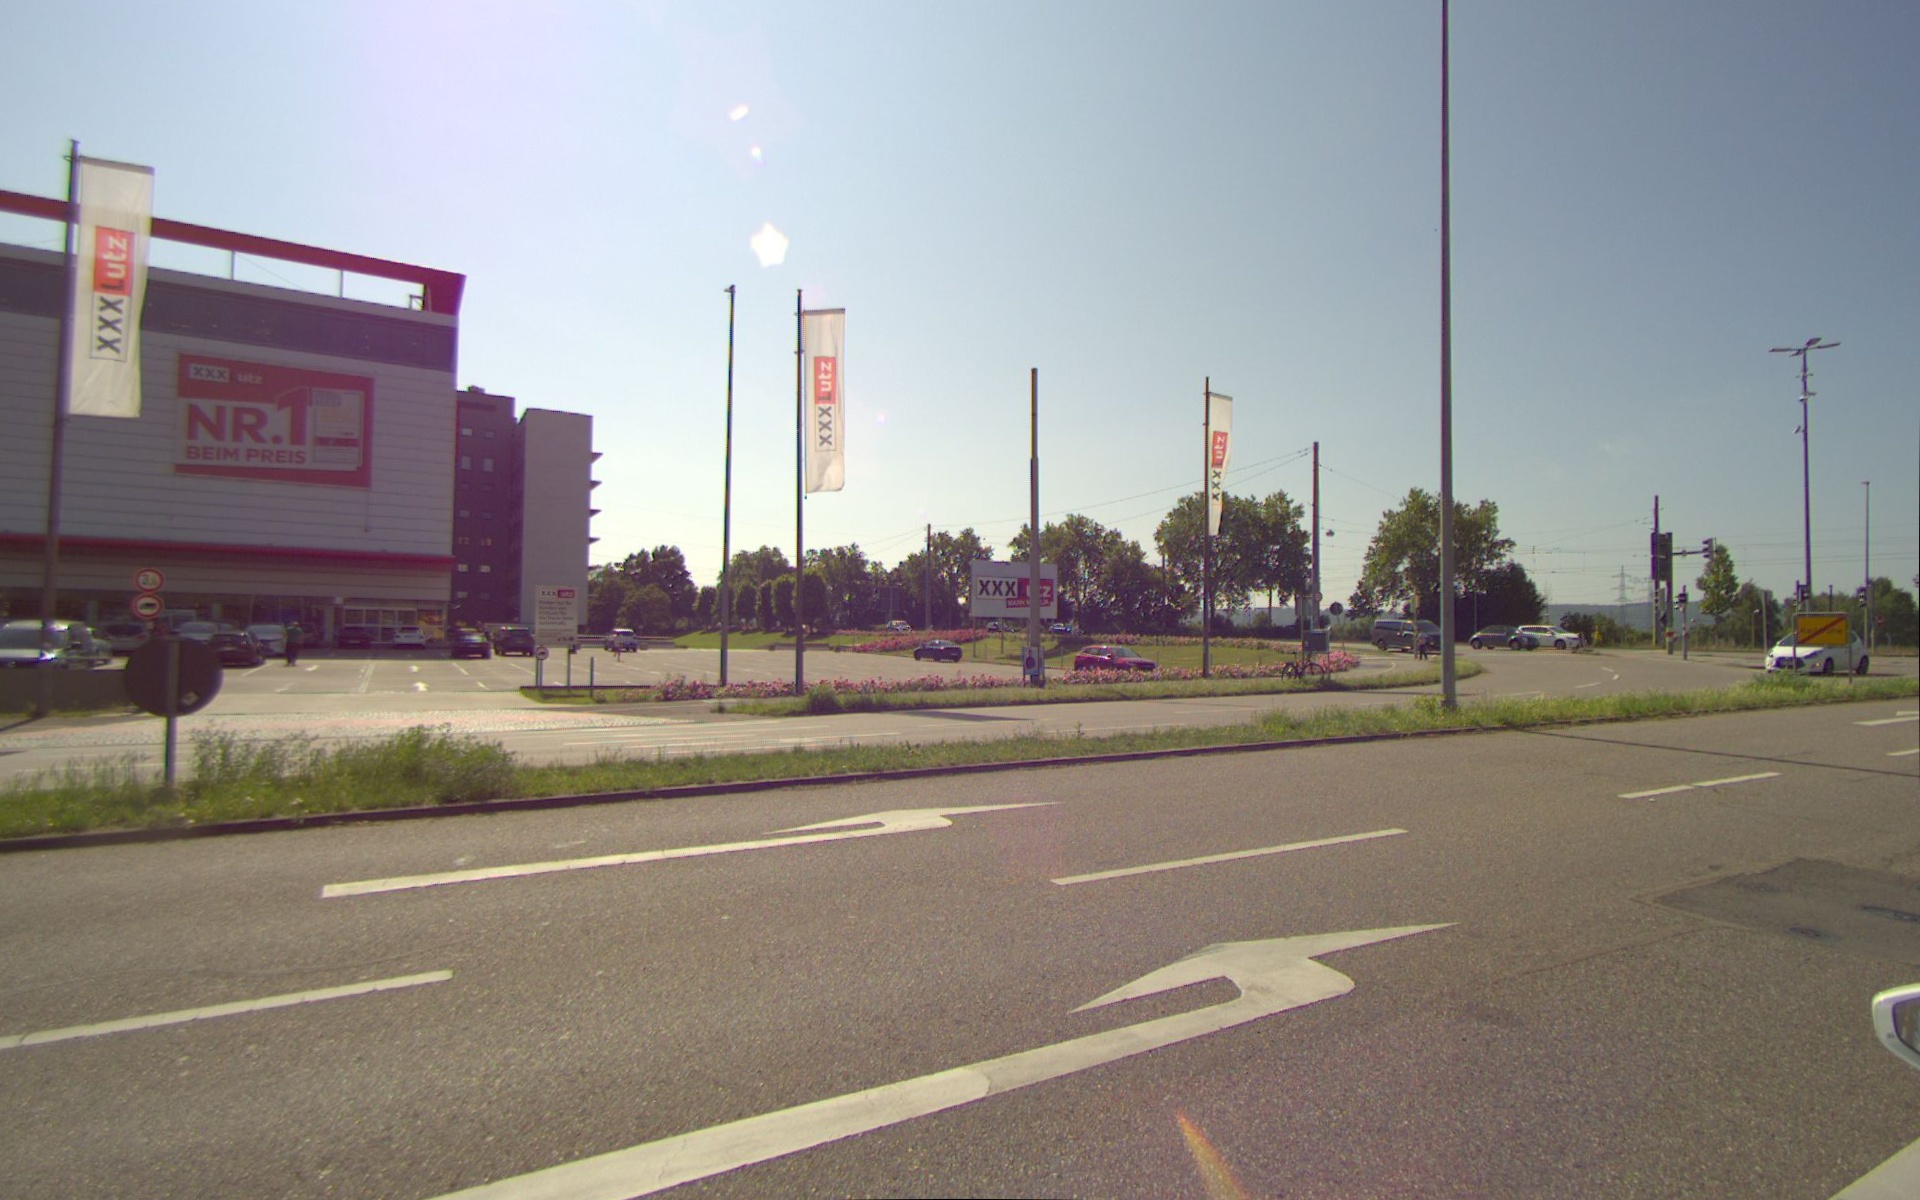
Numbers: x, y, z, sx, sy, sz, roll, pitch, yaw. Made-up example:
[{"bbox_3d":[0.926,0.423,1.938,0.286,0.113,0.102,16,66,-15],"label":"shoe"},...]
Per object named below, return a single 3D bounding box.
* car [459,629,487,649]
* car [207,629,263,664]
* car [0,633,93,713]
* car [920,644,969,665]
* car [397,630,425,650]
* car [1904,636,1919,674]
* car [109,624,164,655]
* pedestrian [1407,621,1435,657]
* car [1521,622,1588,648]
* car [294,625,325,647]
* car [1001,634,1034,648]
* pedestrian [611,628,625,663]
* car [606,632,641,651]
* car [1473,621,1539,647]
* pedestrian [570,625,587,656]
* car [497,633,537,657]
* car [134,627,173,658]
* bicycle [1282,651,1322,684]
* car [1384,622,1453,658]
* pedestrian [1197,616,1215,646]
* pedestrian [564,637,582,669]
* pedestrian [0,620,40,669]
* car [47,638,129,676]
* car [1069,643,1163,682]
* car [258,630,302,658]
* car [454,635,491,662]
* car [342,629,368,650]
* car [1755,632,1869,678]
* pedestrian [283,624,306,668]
[{"bbox_3d":[-33.901,2.721,69.914,1.498,1.347,3.072,3,-3,-31],"label":"car"},{"bbox_3d":[-29.313,1.864,40.674,1.498,1.347,3.072,3,-3,-31],"label":"car"},{"bbox_3d":[-23.643,1.773,25.259,1.923,1.866,4.392,2,-3,-30],"label":"car"},{"bbox_3d":[-1.086,3.765,69.461,1.709,1.347,3.828,3,-3,-31],"label":"car"},{"bbox_3d":[-36.102,2.617,66.052,1.425,1.241,3.072,3,-3,-31],"label":"car"},{"bbox_3d":[27.410,1.520,27.844,2.461,1.017,1.113,1,-2,-29],"label":"car"},{"bbox_3d":[-38.846,1.864,47.464,1.498,1.347,3.072,3,-3,-31],"label":"car"},{"bbox_3d":[22.579,1.920,49.208,0.891,1.729,0.839,0,-2,-18],"label":"pedestrian"},{"bbox_3d":[37.021,2.195,62.605,1.395,1.519,3.323,3,-3,-34],"label":"car"},{"bbox_3d":[-41.381,2.280,63.961,1.498,1.347,3.072,3,-3,-31],"label":"car"},{"bbox_3d":[6.248,4.486,109.223,1.742,1.540,3.967,1,-3,-31],"label":"car"},{"bbox_3d":[-18.887,2.495,55.454,0.489,1.919,0.784,0,-3,0],"label":"pedestrian"},{"bbox_3d":[-24.681,3.014,73.612,1.732,1.347,3.644,3,-3,-31],"label":"car"},{"bbox_3d":[33.670,2.099,61.974,1.394,1.519,3.368,3,-3,-32],"label":"car"},{"bbox_3d":[-25.402,2.732,66.896,0.964,2.040,0.942,1,-3,-29],"label":"pedestrian"},{"bbox_3d":[-26.207,2.661,59.361,1.759,1.347,3.072,3,-3,-31],"label":"car"},{"bbox_3d":[-41.631,2.178,51.917,1.287,1.579,3.216,1,-2,-34],"label":"car"},{"bbox_3d":[11.076,2.194,32.504,1.627,1.036,0.328,4,-5,-34],"label":"bicycle"},{"bbox_3d":[26.606,2.278,58.419,1.783,1.951,3.994,0,0,-8],"label":"car"},{"bbox_3d":[16.351,2.065,66.734,0.906,1.997,0.714,3,-2,-26],"label":"pedestrian"},{"bbox_3d":[-25.287,3.456,65.578,0.964,2.040,0.942,1,-3,-29],"label":"pedestrian"},{"bbox_3d":[-40.239,1.902,42.941,1.005,2.040,0.861,0,-3,-16],"label":"pedestrian"},{"bbox_3d":[-32.934,2.131,38.050,1.498,1.347,4.467,3,-3,-31],"label":"car"},{"bbox_3d":[6.907,2.773,44.853,1.808,1.626,4.157,3,-3,-34],"label":"car"},{"bbox_3d":[-34.341,2.215,50.787,1.498,1.347,4.279,3,-3,-31],"label":"car"},{"bbox_3d":[-26.356,2.612,54.224,1.498,1.347,3.072,3,-3,-31],"label":"car"},{"bbox_3d":[-38.931,2.531,64.660,1.351,1.283,3.072,2,-3,-31],"label":"car"},{"bbox_3d":[30.624,1.969,36.094,4.036,1.567,1.787,2,-2,-29],"label":"car"},{"bbox_3d":[-28.504,1.967,43.027,0.743,1.882,0.849,1,-3,-30],"label":"pedestrian"}]
